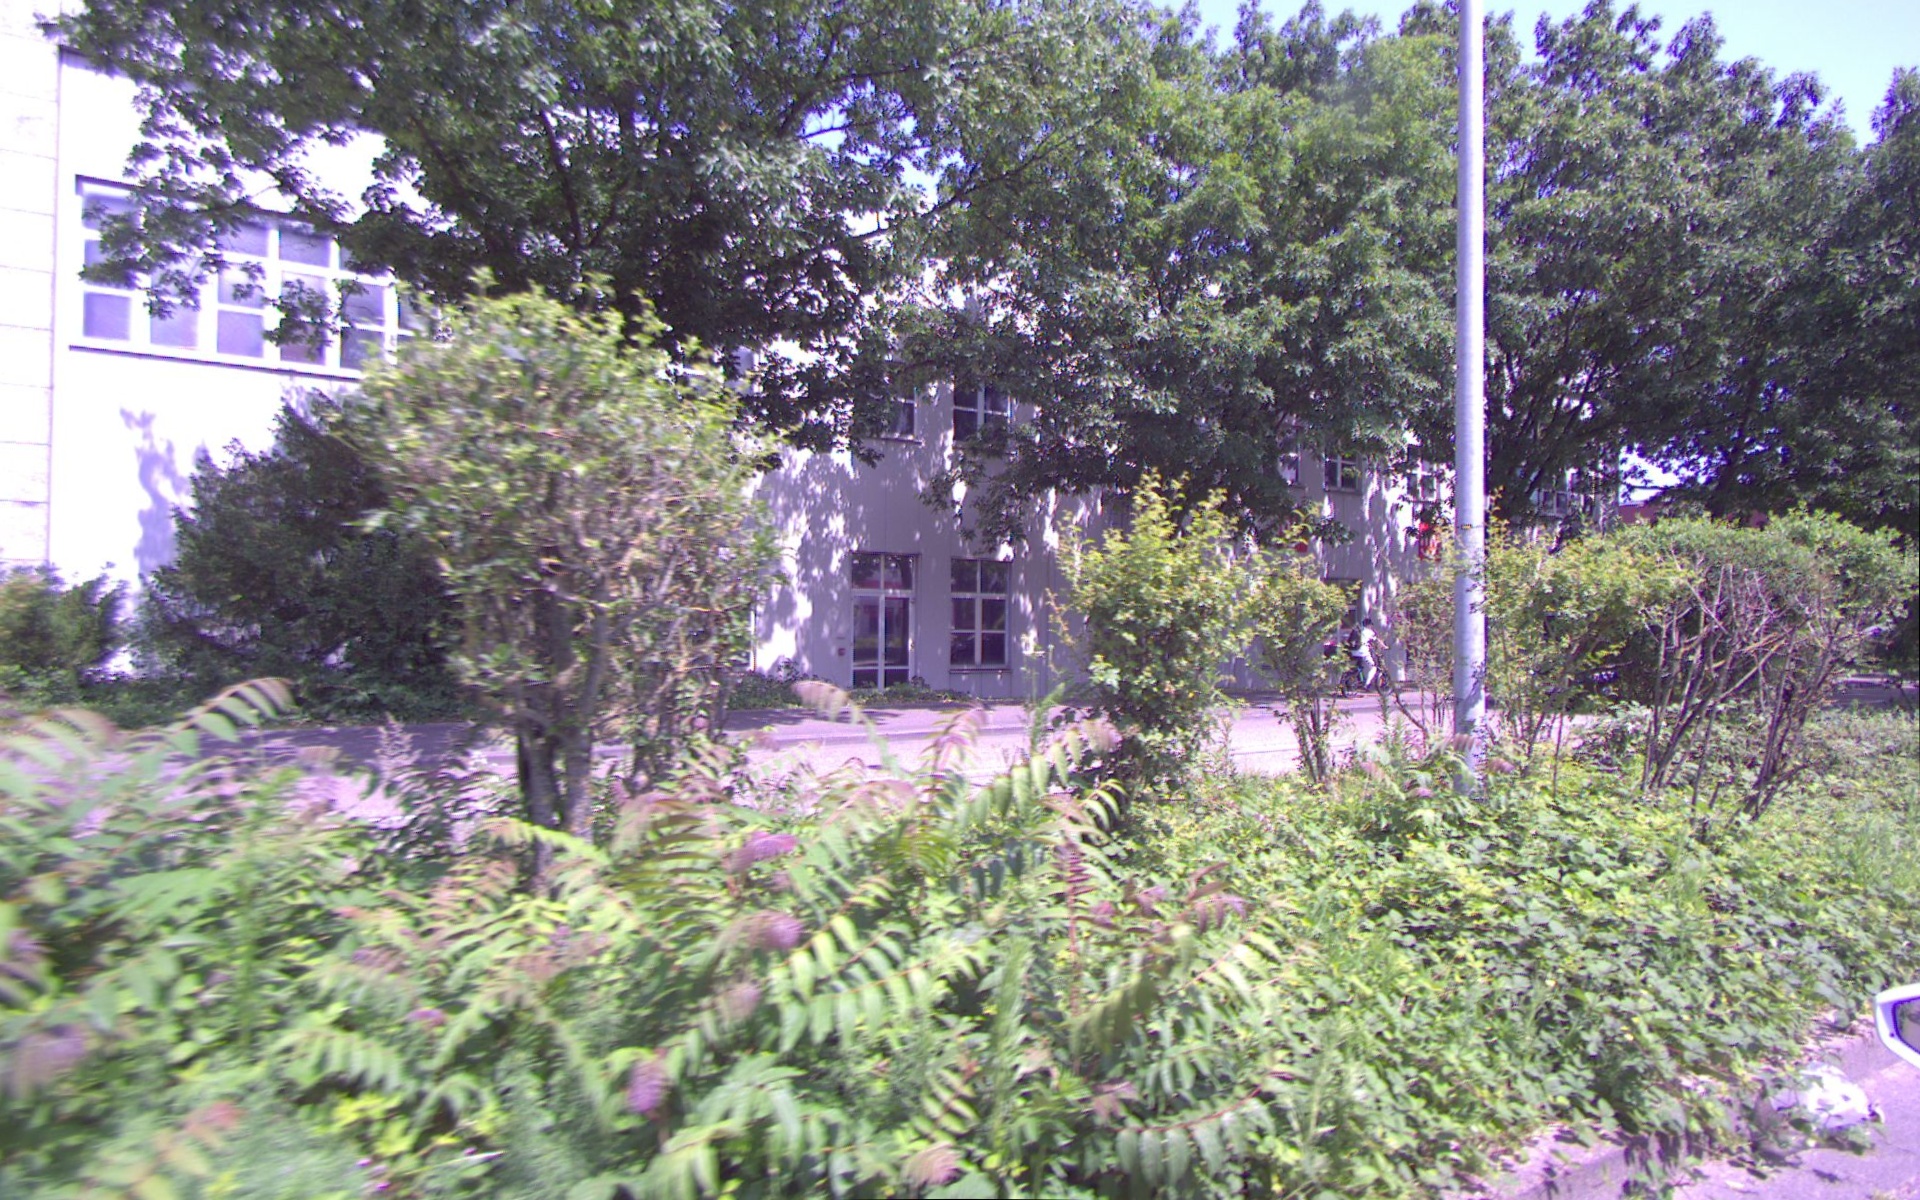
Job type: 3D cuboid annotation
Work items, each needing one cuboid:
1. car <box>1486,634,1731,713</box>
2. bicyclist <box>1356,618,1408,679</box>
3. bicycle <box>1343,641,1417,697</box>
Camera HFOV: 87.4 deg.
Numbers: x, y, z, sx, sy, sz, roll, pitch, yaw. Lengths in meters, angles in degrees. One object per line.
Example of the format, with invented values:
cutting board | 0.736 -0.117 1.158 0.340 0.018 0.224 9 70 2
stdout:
car | 13.466 1.457 20.781 5.178 1.470 2.117 1 -3 -30
bicyclist | 9.086 1.032 21.623 0.803 1.269 0.641 2 -1 -29
bicycle | 9.050 1.477 21.624 1.741 1.134 0.519 2 -1 -30
